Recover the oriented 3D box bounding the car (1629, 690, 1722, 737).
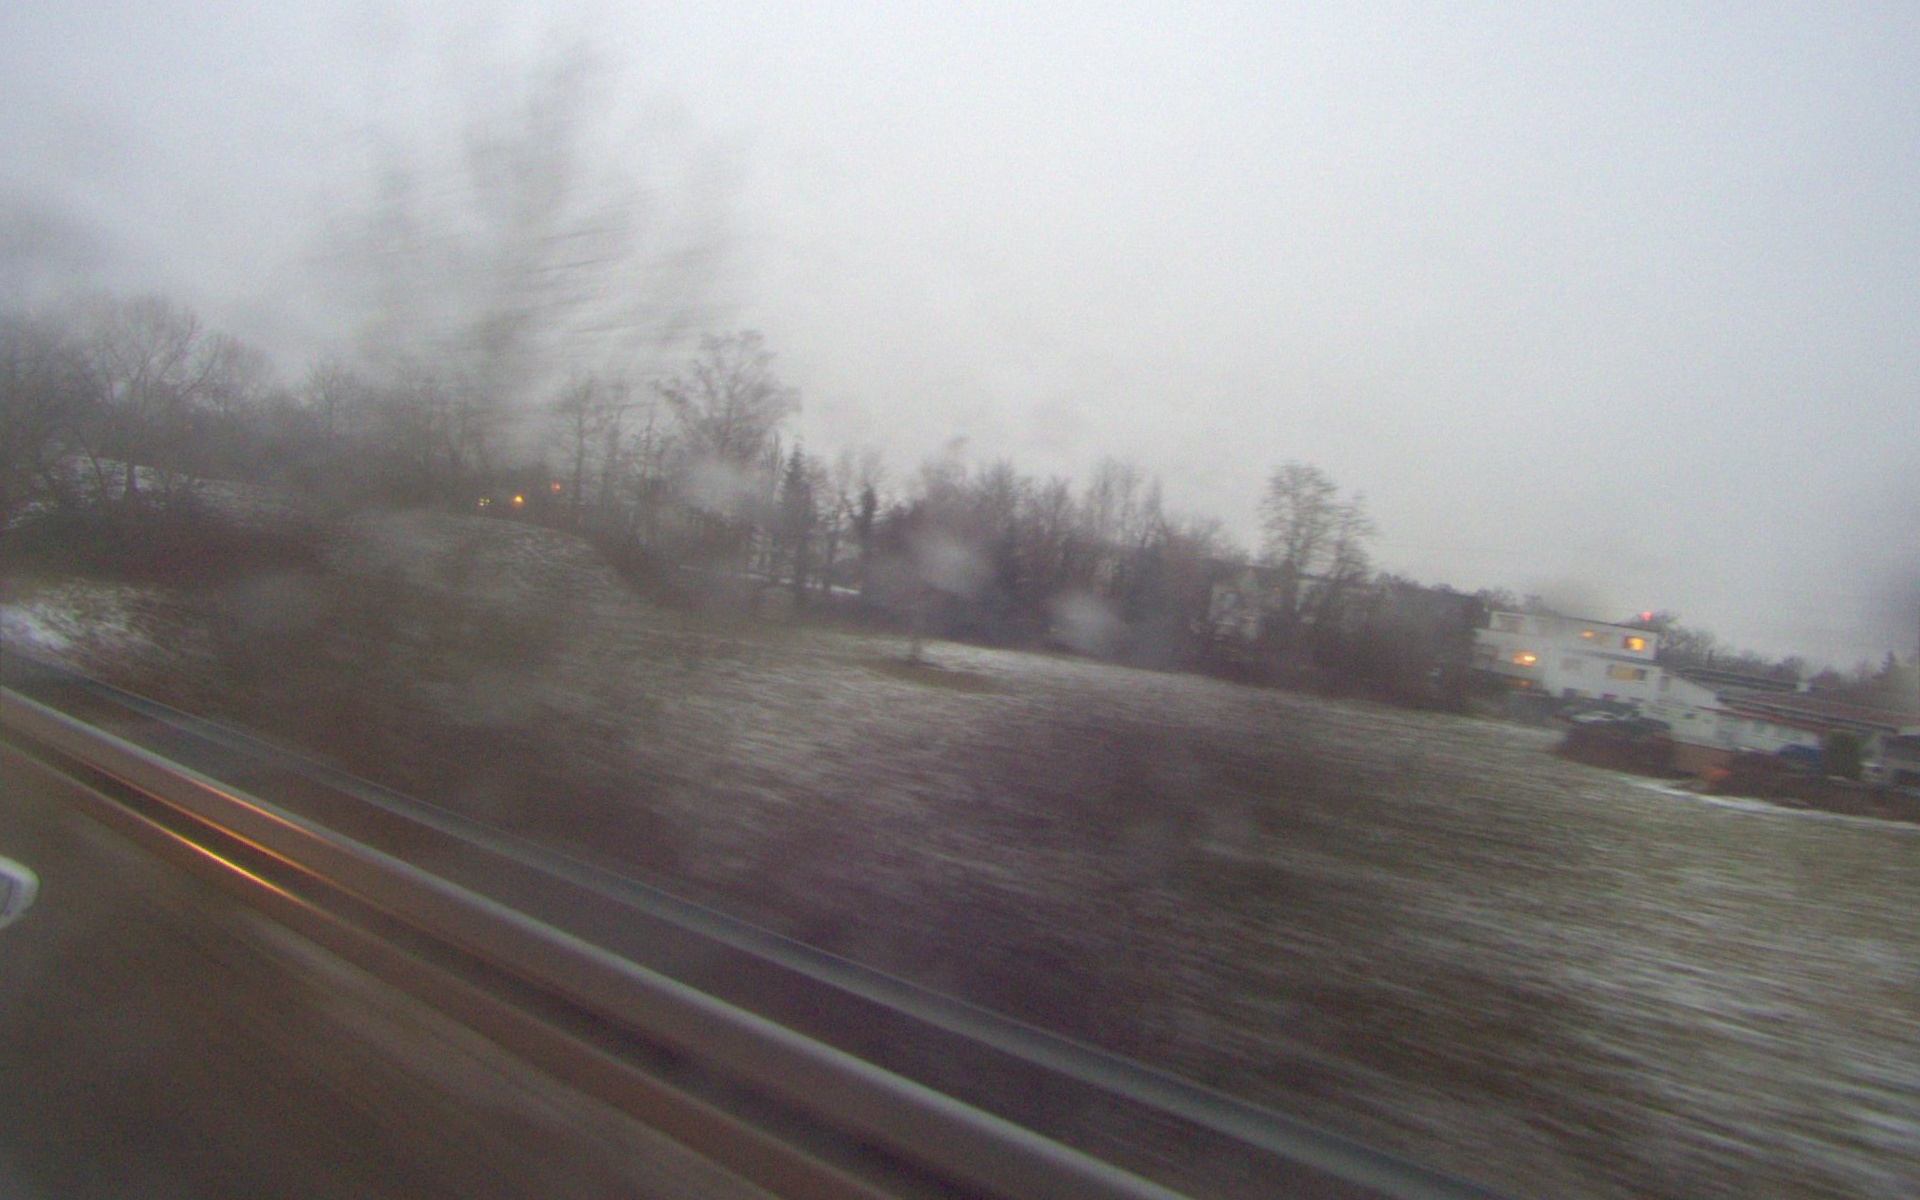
[{"bbox_3d":[59.157,9.308,83.345,2.257,2.875,6.098,7,0,-13],"label":"car"}]
